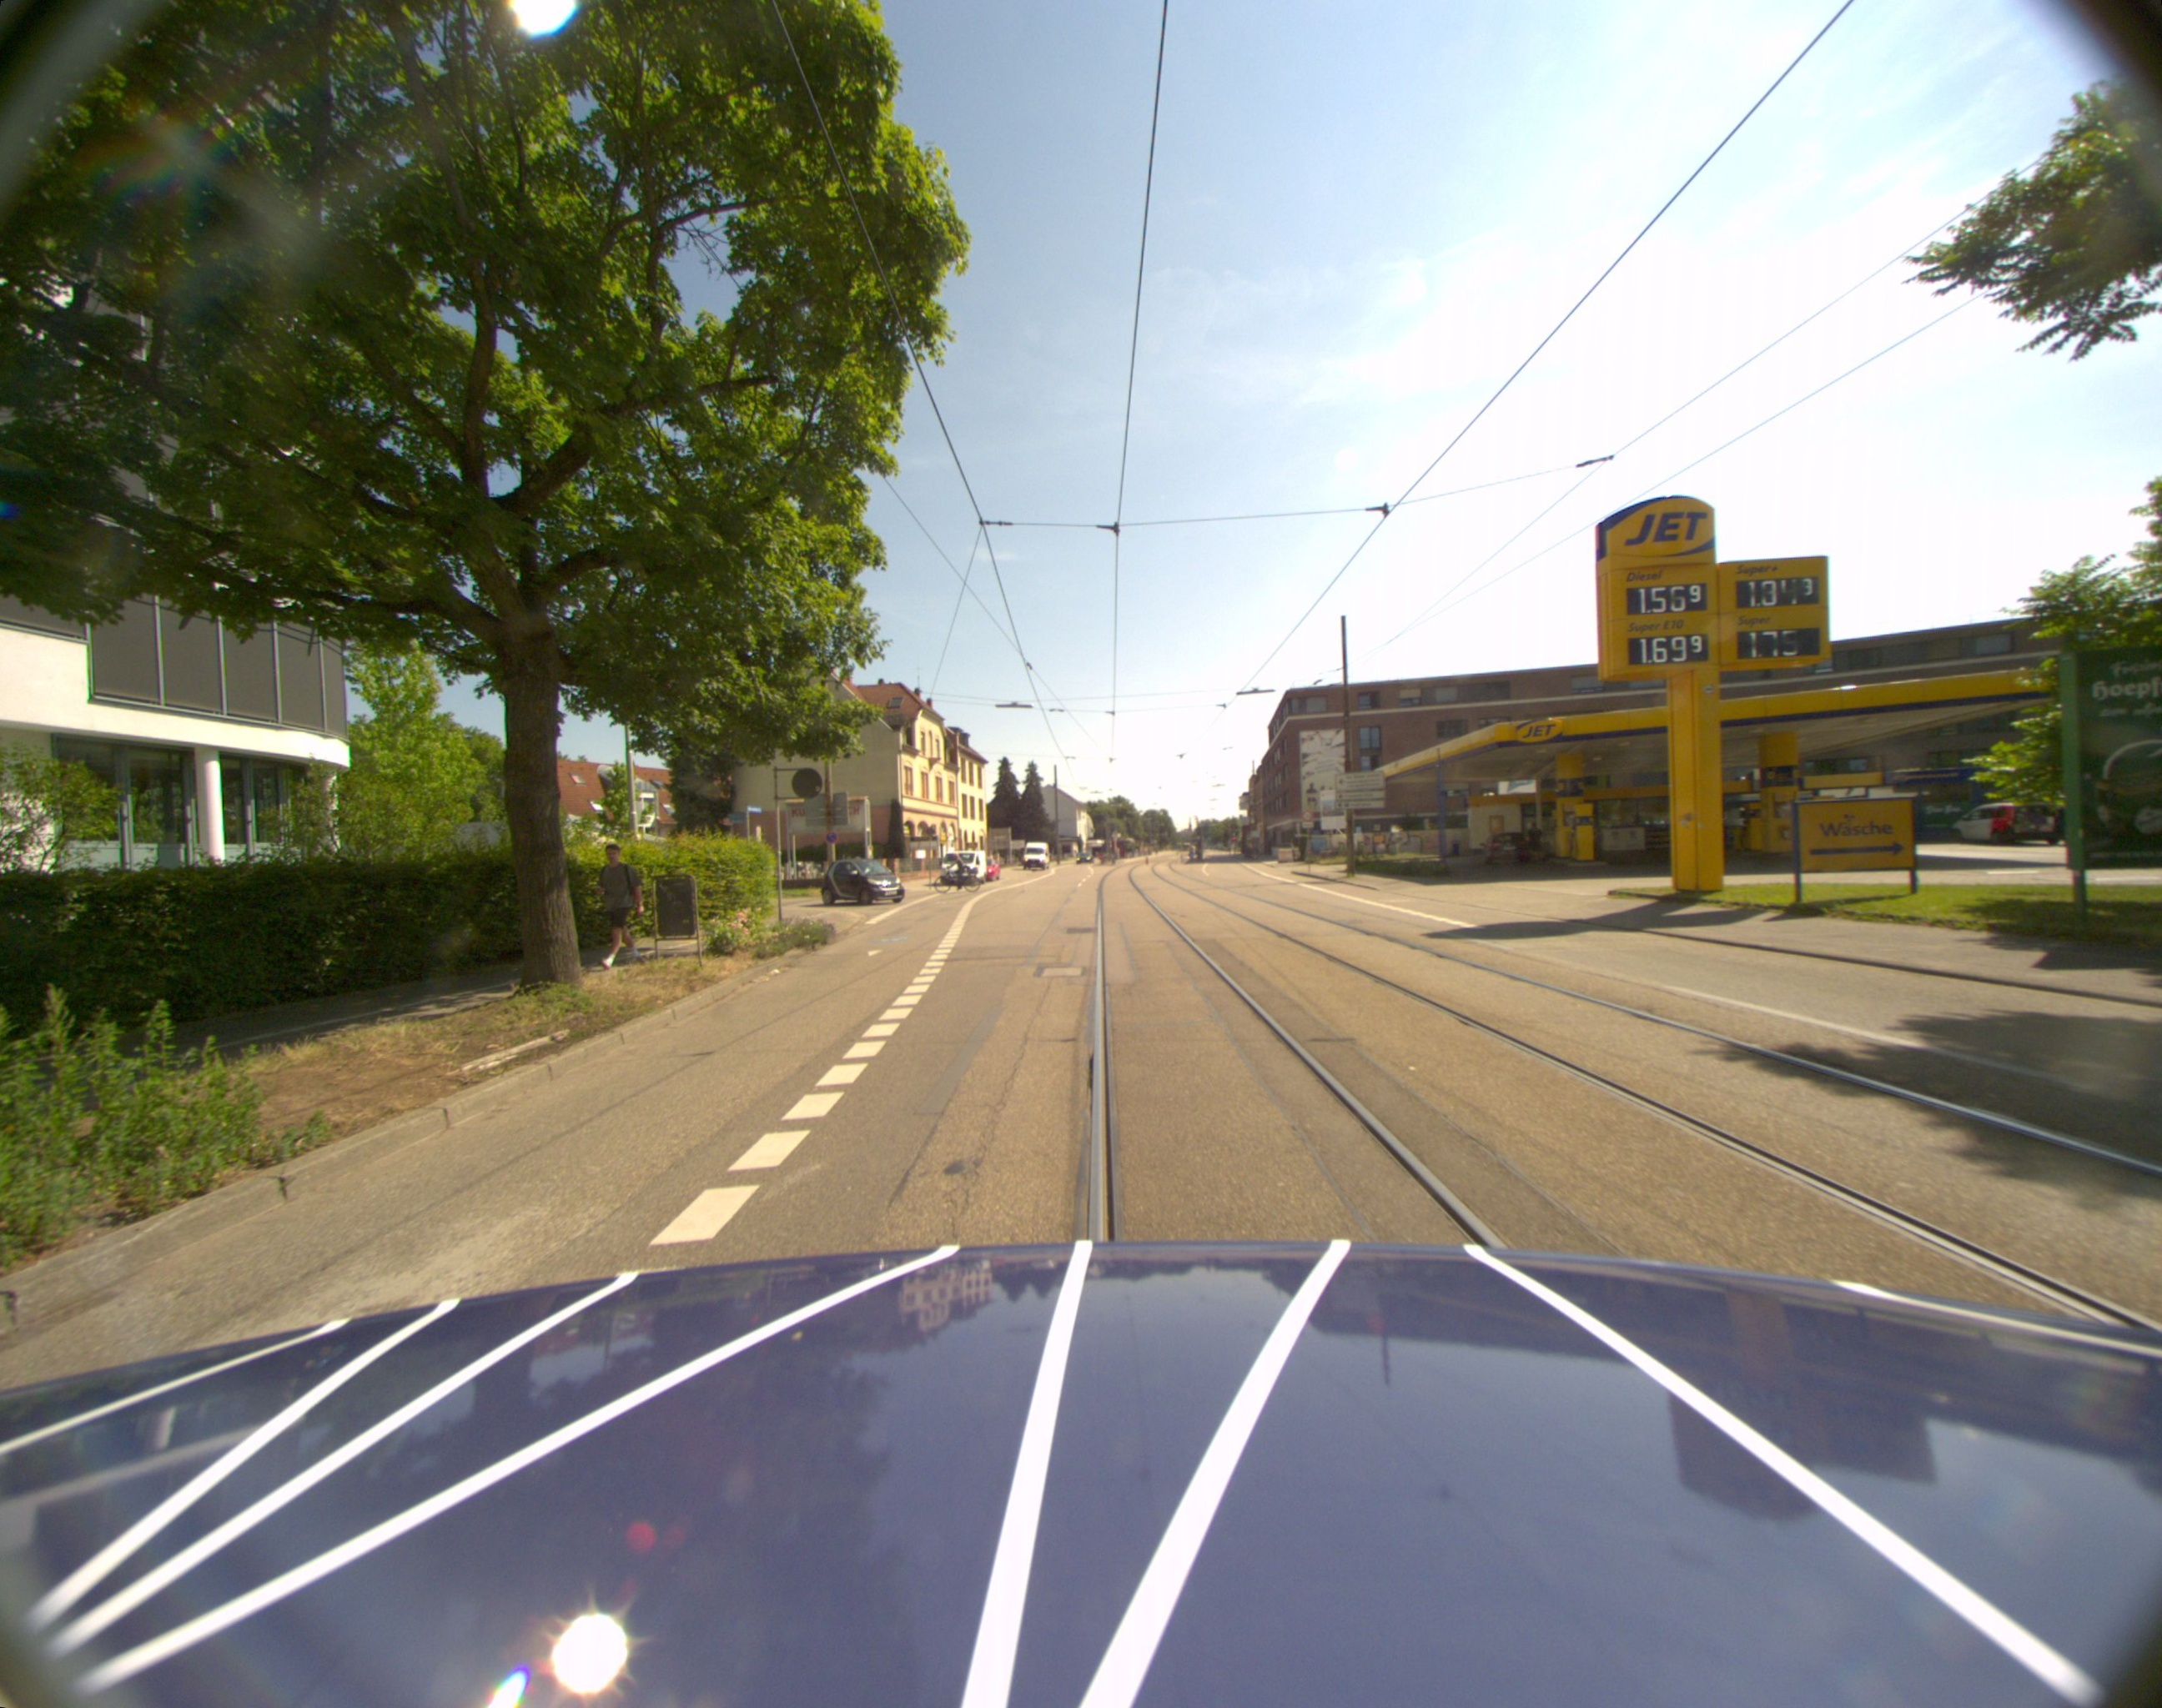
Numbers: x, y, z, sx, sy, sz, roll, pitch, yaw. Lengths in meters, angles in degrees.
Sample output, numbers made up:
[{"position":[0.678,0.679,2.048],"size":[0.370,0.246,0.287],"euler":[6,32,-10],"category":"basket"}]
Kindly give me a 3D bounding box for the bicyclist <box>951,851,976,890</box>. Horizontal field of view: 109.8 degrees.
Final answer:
[{"position":[-5.010,0.691,32.316],"size":[0.965,1.586,0.905],"euler":[-2,1,-12],"category":"bicyclist"}]

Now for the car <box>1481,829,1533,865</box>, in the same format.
[{"position":[20.264,-0.320,36.262],"size":[1.757,1.446,4.417],"euler":[-6,-2,25],"category":"car"}]

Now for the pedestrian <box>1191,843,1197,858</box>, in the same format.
[{"position":[12.974,-0.435,87.510],"size":[0.557,1.750,0.793],"euler":[-3,1,3],"category":"pedestrian"}]

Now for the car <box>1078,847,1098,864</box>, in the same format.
[{"position":[0.866,0.184,92.290],"size":[1.998,2.002,4.001],"euler":[-2,1,4],"category":"car"}]

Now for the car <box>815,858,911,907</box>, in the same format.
[{"position":[-7.401,0.945,25.775],"size":[2.968,1.530,1.482],"euler":[-1,1,32],"category":"car"}]

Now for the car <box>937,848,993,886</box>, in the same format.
[{"position":[-6.464,0.683,42.850],"size":[2.088,2.002,4.909],"euler":[-1,0,3],"category":"car"}]

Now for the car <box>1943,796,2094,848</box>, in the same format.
[{"position":[40.498,-1.344,33.045],"size":[1.757,1.971,5.314],"euler":[-3,1,22],"category":"car"}]

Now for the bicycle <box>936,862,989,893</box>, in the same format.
[{"position":[-5.030,0.997,32.284],"size":[2.123,1.190,0.611],"euler":[-3,1,-9],"category":"bicycle"}]

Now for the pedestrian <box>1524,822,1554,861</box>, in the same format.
[{"position":[20.709,-0.554,34.372],"size":[0.857,1.715,0.745],"euler":[-3,1,5],"category":"pedestrian"}]

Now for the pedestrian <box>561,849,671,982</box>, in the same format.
[{"position":[-6.737,0.849,11.073],"size":[0.892,1.807,1.073],"euler":[-3,1,-5],"category":"pedestrian"}]

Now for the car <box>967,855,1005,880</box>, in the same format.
[{"position":[-6.082,0.853,49.000],"size":[1.724,1.398,4.001],"euler":[-3,1,2],"category":"car"}]

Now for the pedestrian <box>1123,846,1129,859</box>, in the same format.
[{"position":[6.234,-0.201,105.513],"size":[0.707,1.680,0.416],"euler":[-2,1,1],"category":"pedestrian"}]

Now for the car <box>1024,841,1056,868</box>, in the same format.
[{"position":[-3.890,0.022,72.960],"size":[2.335,2.521,6.507],"euler":[0,1,3],"category":"car"}]
